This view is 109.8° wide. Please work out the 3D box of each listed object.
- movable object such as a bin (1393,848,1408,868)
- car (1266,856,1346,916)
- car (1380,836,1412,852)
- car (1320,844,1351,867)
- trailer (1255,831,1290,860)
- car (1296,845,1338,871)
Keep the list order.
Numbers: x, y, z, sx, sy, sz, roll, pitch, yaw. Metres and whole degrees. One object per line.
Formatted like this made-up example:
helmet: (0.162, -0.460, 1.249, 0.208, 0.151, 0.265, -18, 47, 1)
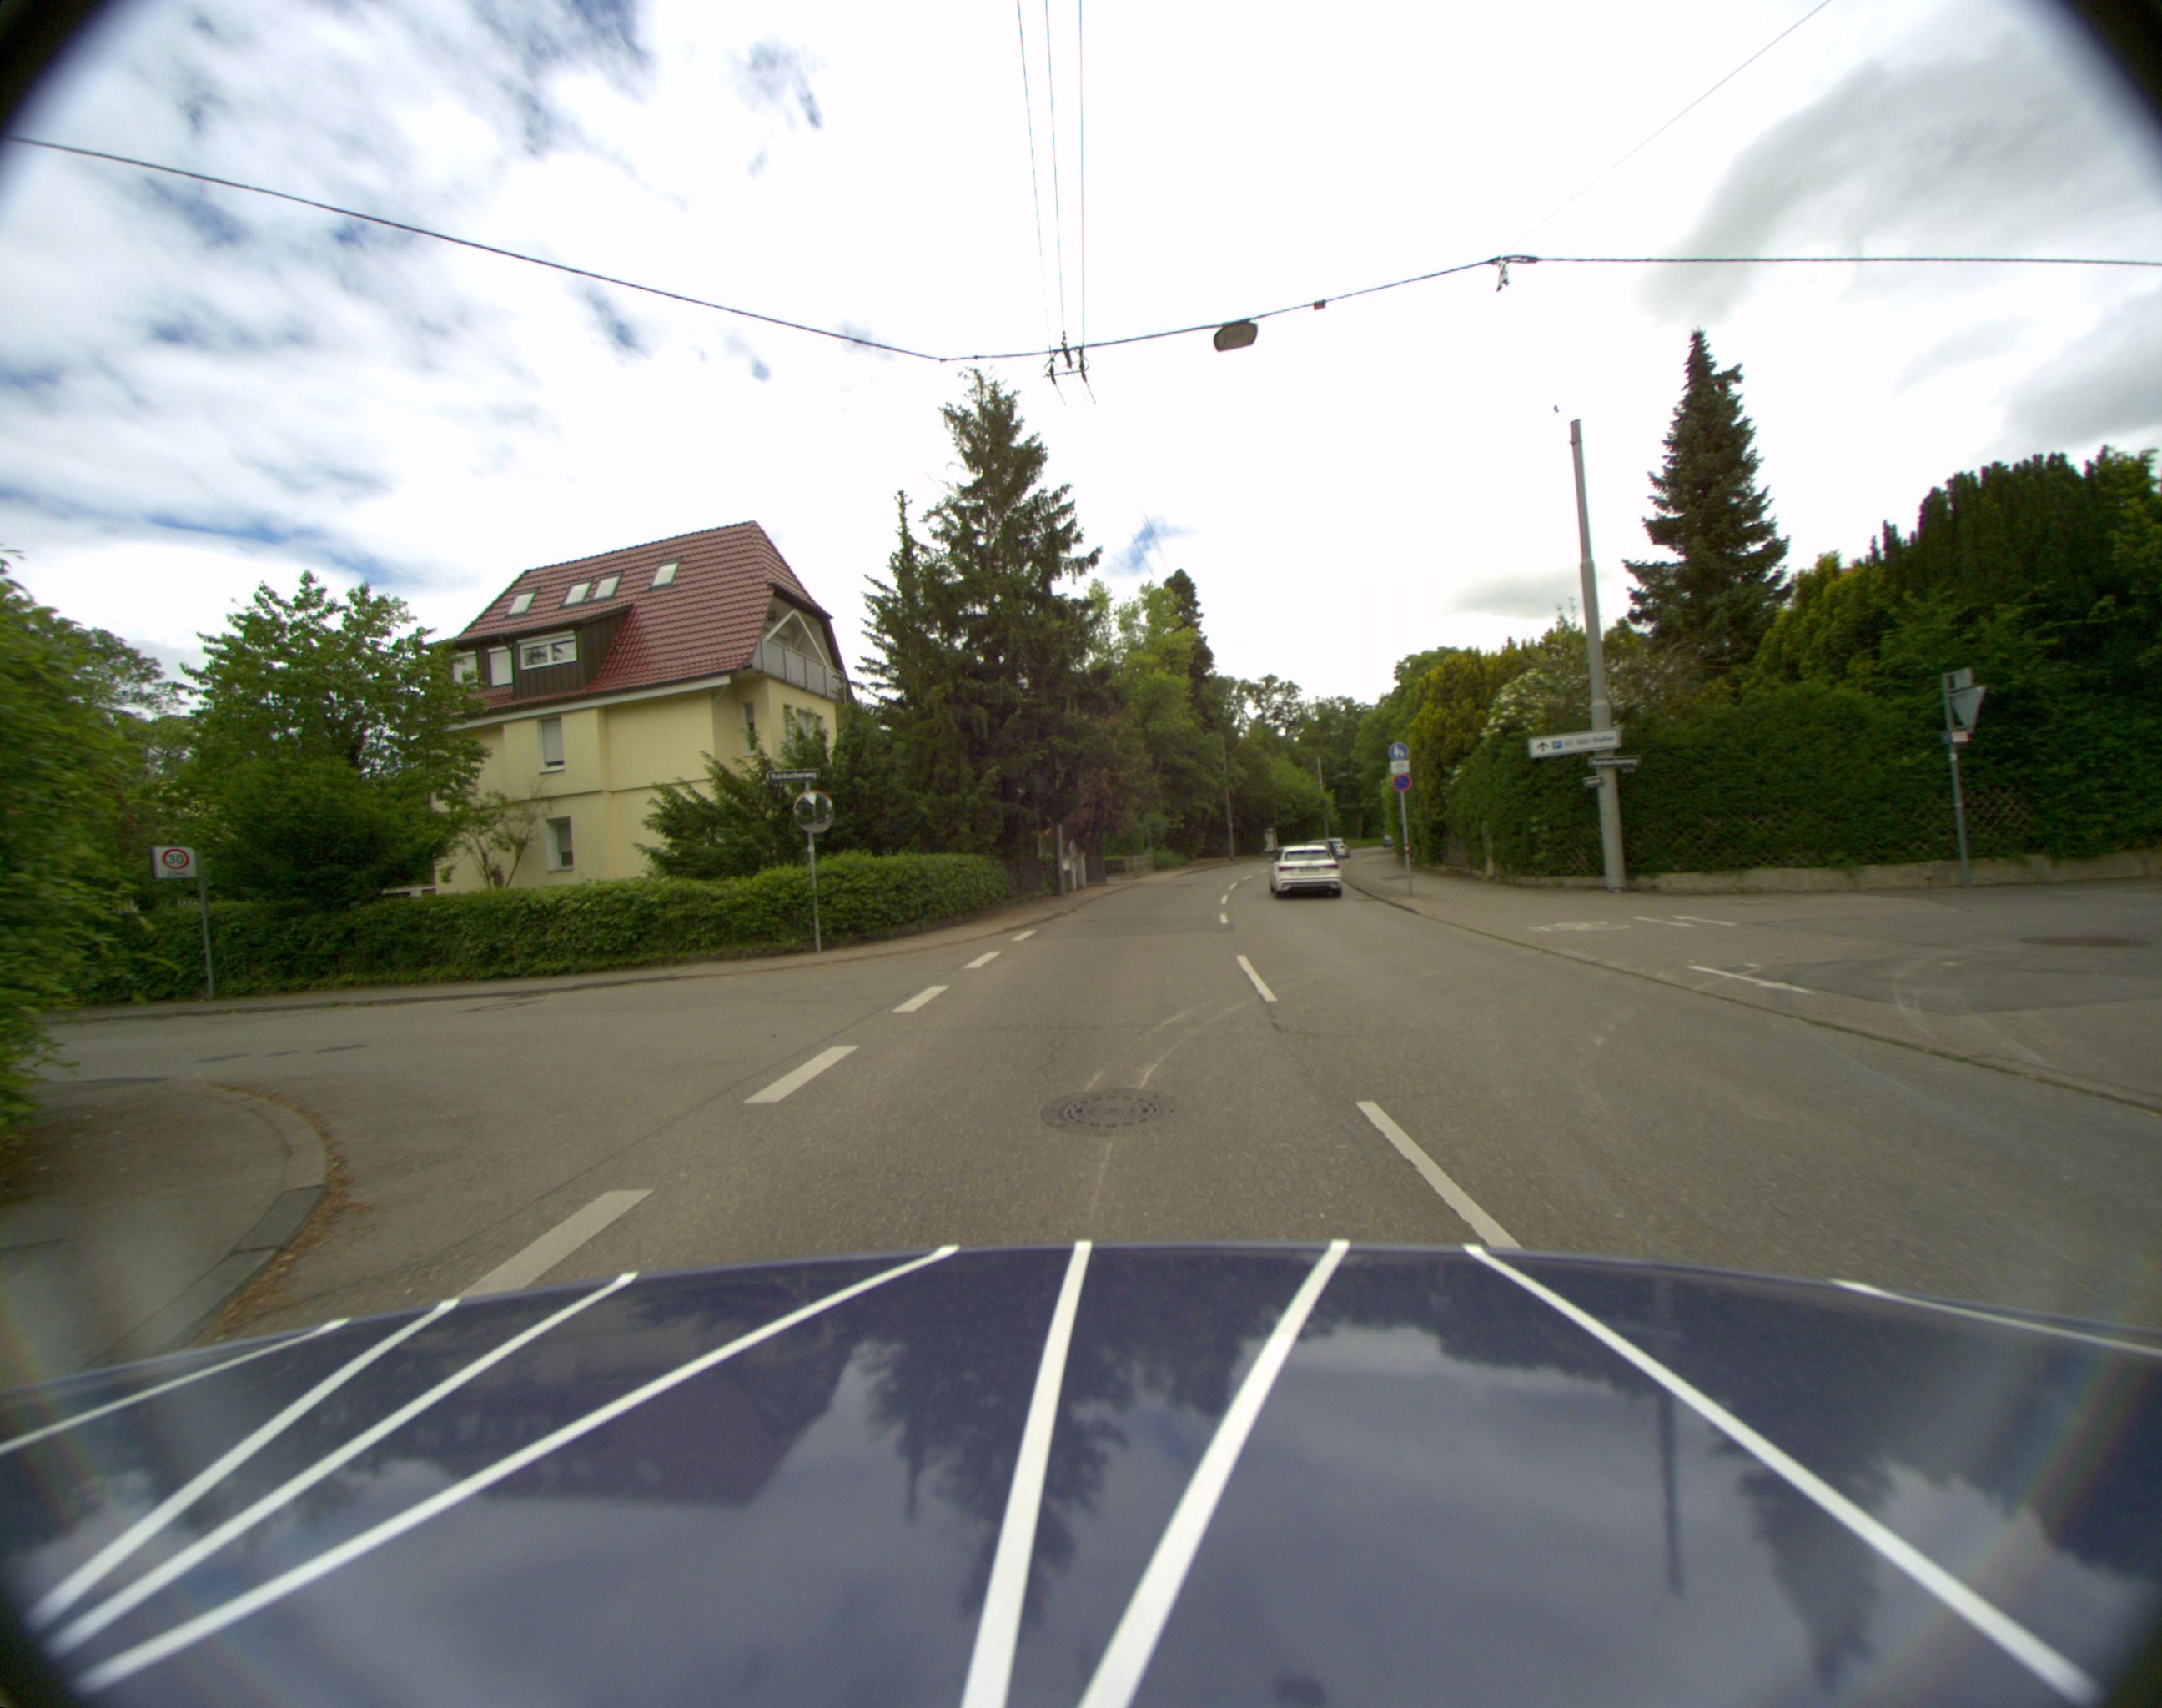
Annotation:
movable object such as a bin: (19.238, 0.262, 45.696, 0.742, 1.134, 0.647, -5, -1, 23)
car: (6.372, 0.855, 21.913, 1.811, 1.434, 4.201, -1, 1, 11)
car: (33.496, -1.009, 80.778, 1.995, 1.608, 4.009, -3, -2, 39)
car: (18.003, 0.073, 53.877, 1.905, 1.446, 3.800, -3, 0, 16)
trailer: (19.736, -0.885, 78.461, 3.118, 2.883, 1.596, -2, 1, 28)
car: (13.555, 0.192, 43.781, 1.916, 1.390, 3.912, -2, 0, 12)
